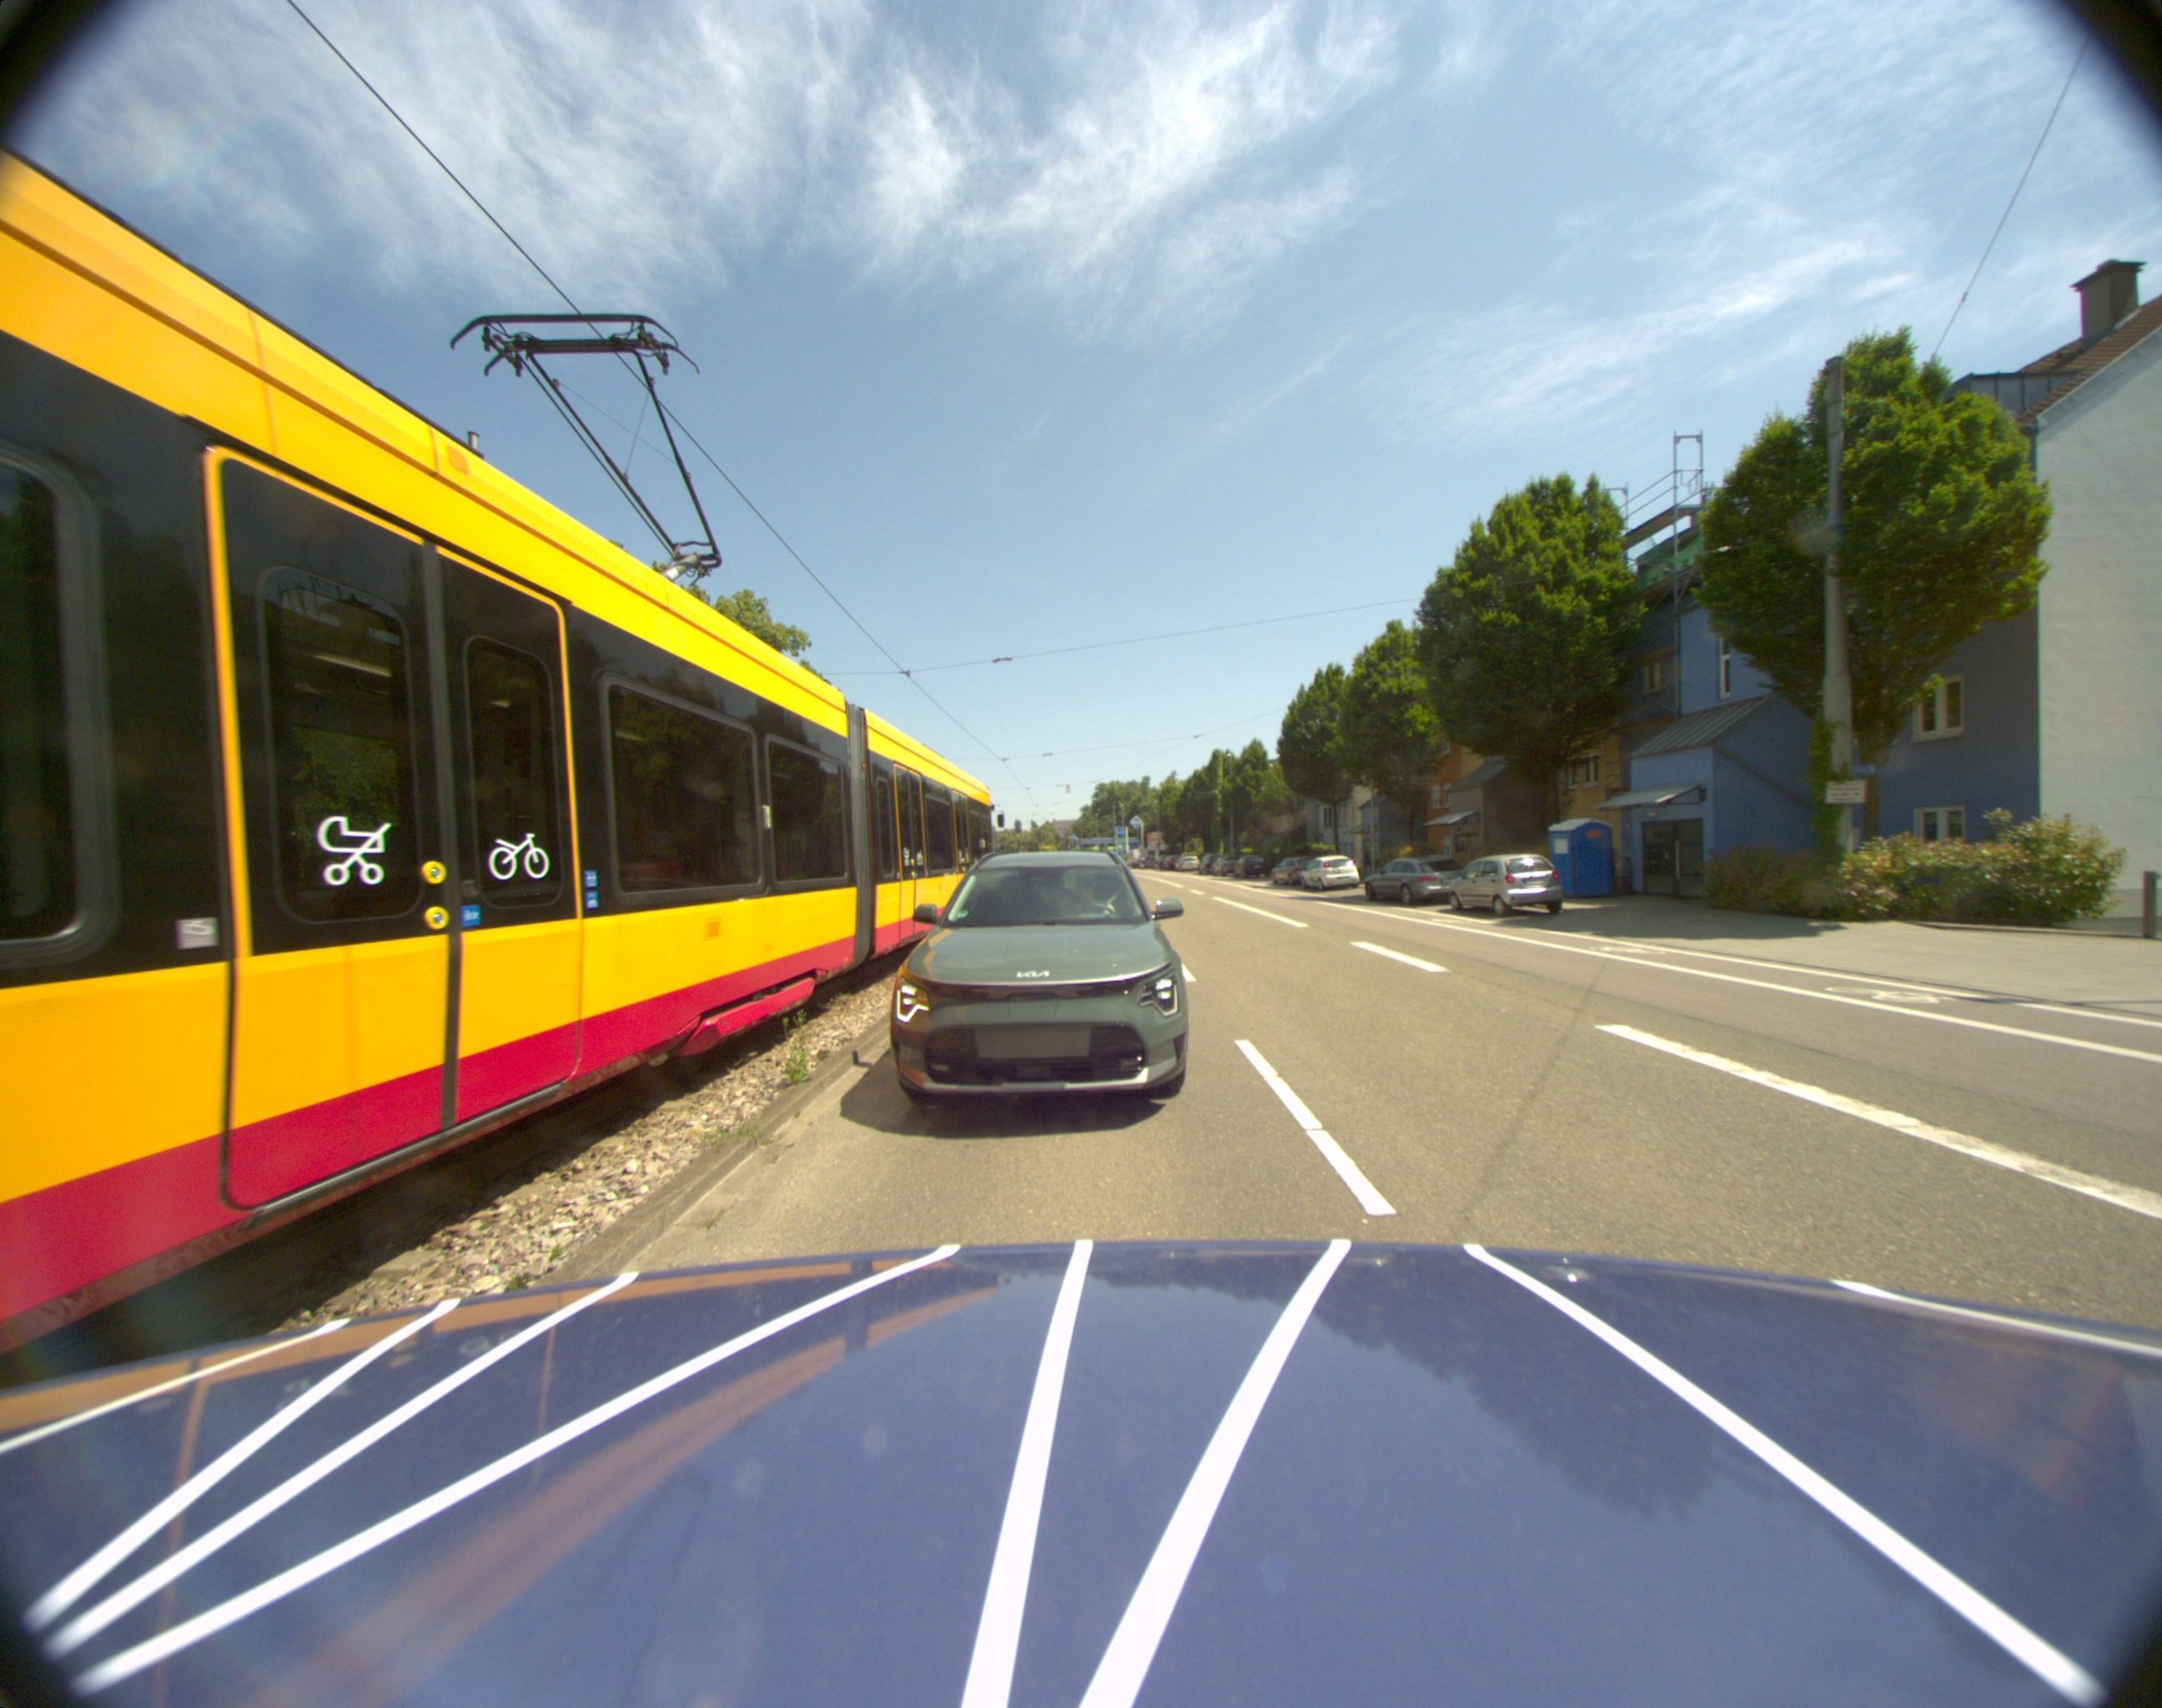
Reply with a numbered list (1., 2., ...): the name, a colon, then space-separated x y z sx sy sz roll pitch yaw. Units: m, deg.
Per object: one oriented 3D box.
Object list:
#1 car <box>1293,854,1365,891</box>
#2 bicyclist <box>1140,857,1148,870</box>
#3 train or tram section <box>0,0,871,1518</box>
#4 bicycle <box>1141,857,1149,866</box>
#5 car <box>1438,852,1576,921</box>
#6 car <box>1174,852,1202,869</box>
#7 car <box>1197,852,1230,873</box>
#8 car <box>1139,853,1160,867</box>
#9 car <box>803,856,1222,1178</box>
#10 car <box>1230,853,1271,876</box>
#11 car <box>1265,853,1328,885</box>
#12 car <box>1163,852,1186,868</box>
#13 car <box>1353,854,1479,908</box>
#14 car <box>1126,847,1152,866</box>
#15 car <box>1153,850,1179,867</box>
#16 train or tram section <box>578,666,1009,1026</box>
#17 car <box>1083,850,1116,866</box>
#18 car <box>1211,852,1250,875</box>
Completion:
1. car: 11.369 0.812 35.166 1.750 1.434 4.420 -6 0 0
2. bicyclist: 7.076 1.046 84.924 0.737 1.422 1.124 2 1 -2
3. train or tram section: -3.879 -0.221 2.785 2.747 3.588 10.950 -3 0 1
4. bicycle: 7.145 0.836 85.039 0.703 0.945 2.243 1 -1 -2
5. car: 11.021 0.774 19.933 1.597 1.487 3.448 -6 0 1
6. car: 10.420 0.625 74.107 1.845 1.573 4.495 -3 0 -2
7. car: 10.902 0.659 62.785 1.772 1.579 4.147 -3 0 -3
8. car: 8.423 0.720 94.067 1.870 1.528 4.142 -3 0 -4
9. car: -0.253 0.849 5.874 2.062 1.534 4.001 -3 0 3
10. car: 11.493 0.691 51.675 1.754 1.424 4.257 -3 0 0
11. car: 11.377 0.758 40.440 1.708 1.421 4.750 -6 0 -3
12. car: 9.810 0.654 79.999 1.604 1.584 3.680 -3 0 -6
13. car: 10.955 0.831 25.305 1.791 1.441 5.133 -5 -1 0
14. car: 7.625 0.330 100.139 2.285 2.294 5.226 -3 0 -8
15. car: 9.480 0.479 85.206 1.999 1.783 4.556 -2 0 -5
16. train or tram section: -3.589 -0.075 14.305 2.747 3.588 12.870 -3 0 1
17. car: 2.957 0.684 124.571 2.290 2.294 5.216 -3 0 -43
18. car: 11.162 0.692 56.965 1.830 1.487 4.756 -3 0 -1
